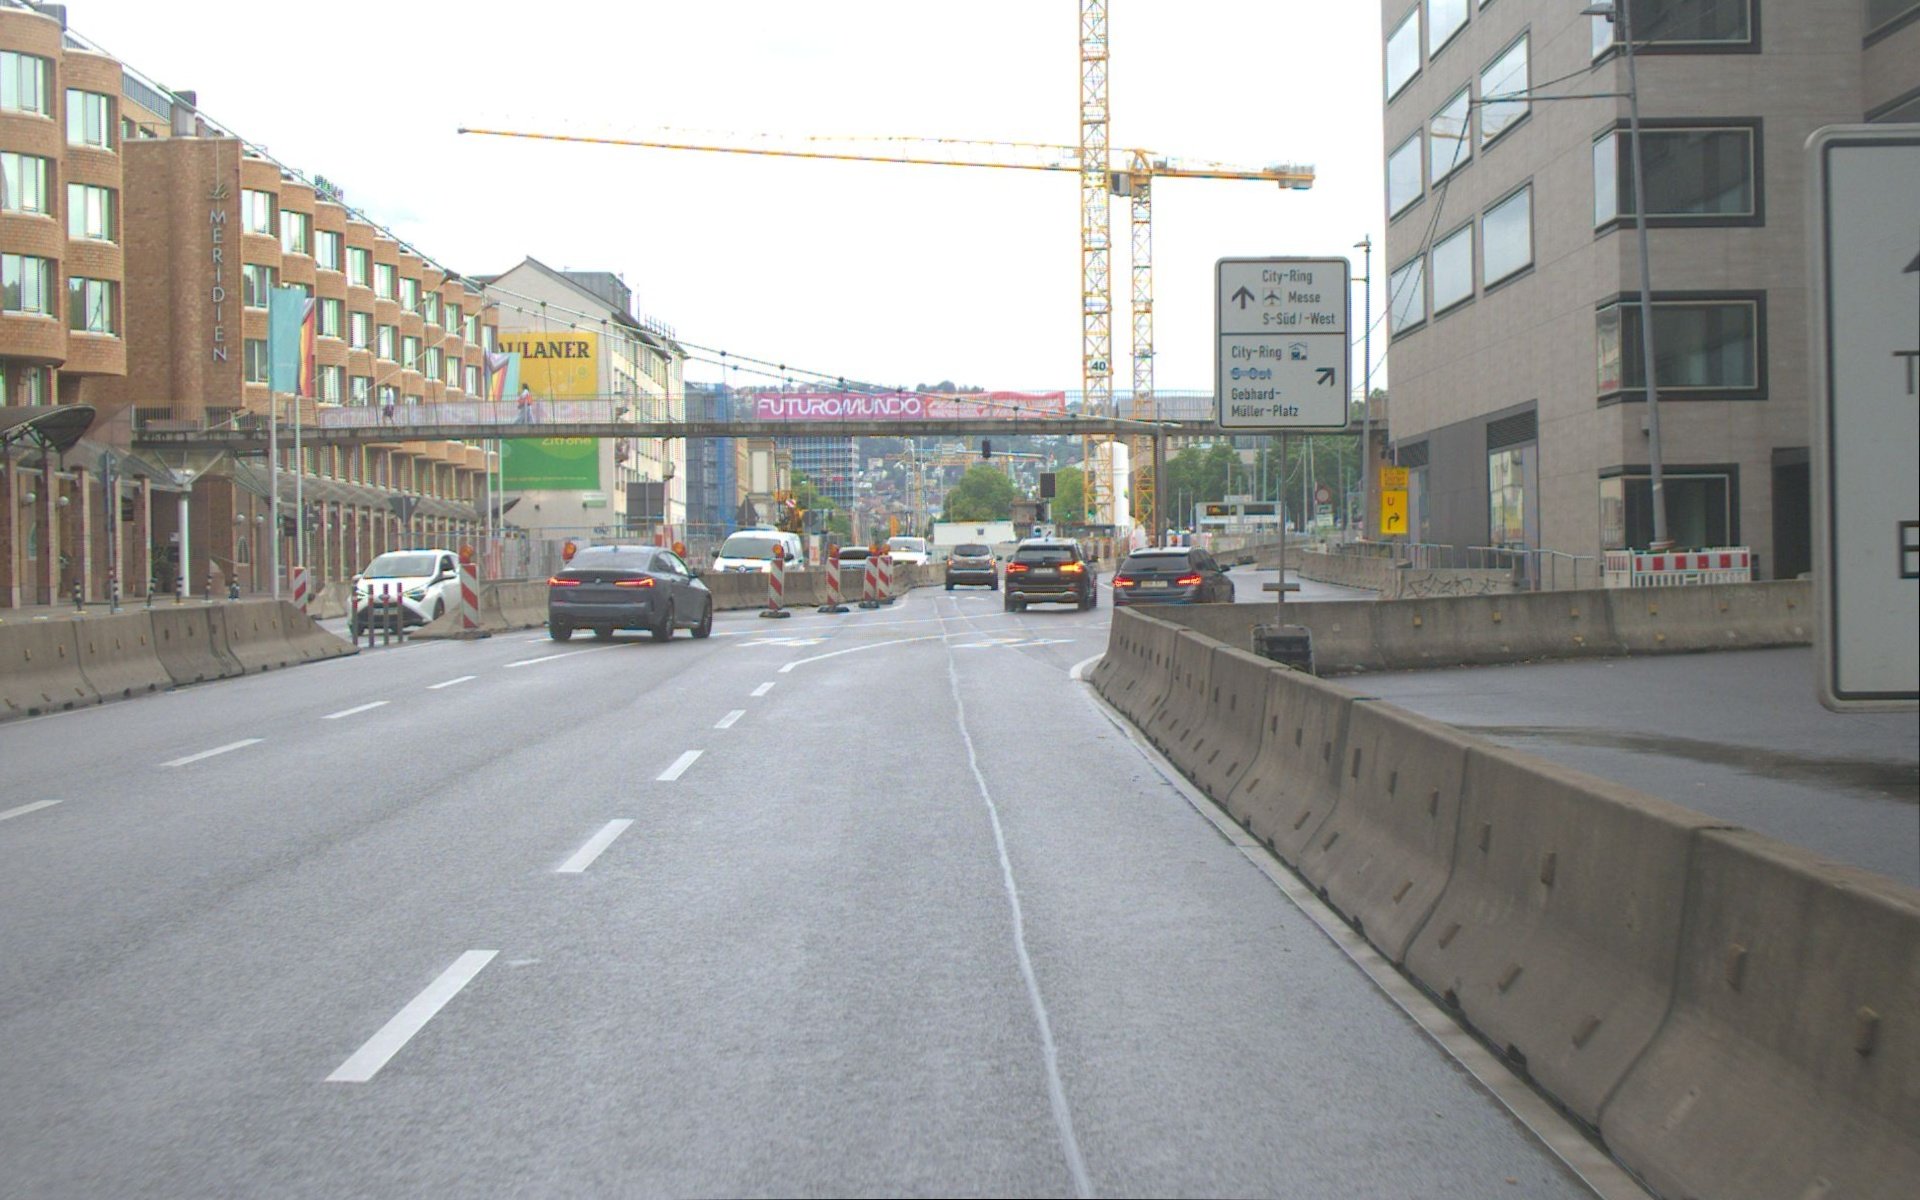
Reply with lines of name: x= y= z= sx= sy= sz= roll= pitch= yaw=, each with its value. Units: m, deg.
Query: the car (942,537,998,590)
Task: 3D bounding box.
car: x=0.323 y=-1.264 z=117.926 sx=1.863 sy=1.759 sz=4.656 roll=0 pitch=1 yaw=-1

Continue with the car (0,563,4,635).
car: x=-23.482 y=0.029 z=78.691 sx=1.993 sy=1.685 sz=5.050 roll=0 pitch=1 yaw=-3

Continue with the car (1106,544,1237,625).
car: x=3.938 y=-0.309 z=63.464 sx=1.864 sy=1.428 sz=4.654 roll=0 pitch=1 yaw=10

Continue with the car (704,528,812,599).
car: x=-5.156 y=-0.953 z=88.303 sx=1.886 sy=1.777 sz=4.876 roll=0 pitch=1 yaw=7

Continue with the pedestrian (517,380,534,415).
pedestrian: x=-15.524 y=-7.242 z=122.913 sx=0.475 sy=1.190 sz=0.484 roll=-2 pitch=1 yaw=4

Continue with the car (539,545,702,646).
car: x=-5.115 y=-0.102 z=52.374 sx=1.863 sy=1.438 sz=4.656 roll=0 pitch=1 yaw=2

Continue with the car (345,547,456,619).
car: x=-9.988 y=-0.328 z=61.547 sx=1.612 sy=1.227 sz=3.727 roll=0 pitch=1 yaw=-4

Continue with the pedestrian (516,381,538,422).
pedestrian: x=-15.475 y=-7.099 z=122.891 sx=0.620 sy=1.447 sz=0.618 roll=-2 pitch=1 yaw=4

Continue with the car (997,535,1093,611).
car: x=1.962 y=-0.633 z=77.995 sx=1.863 sy=1.655 sz=4.655 roll=0 pitch=1 yaw=5
